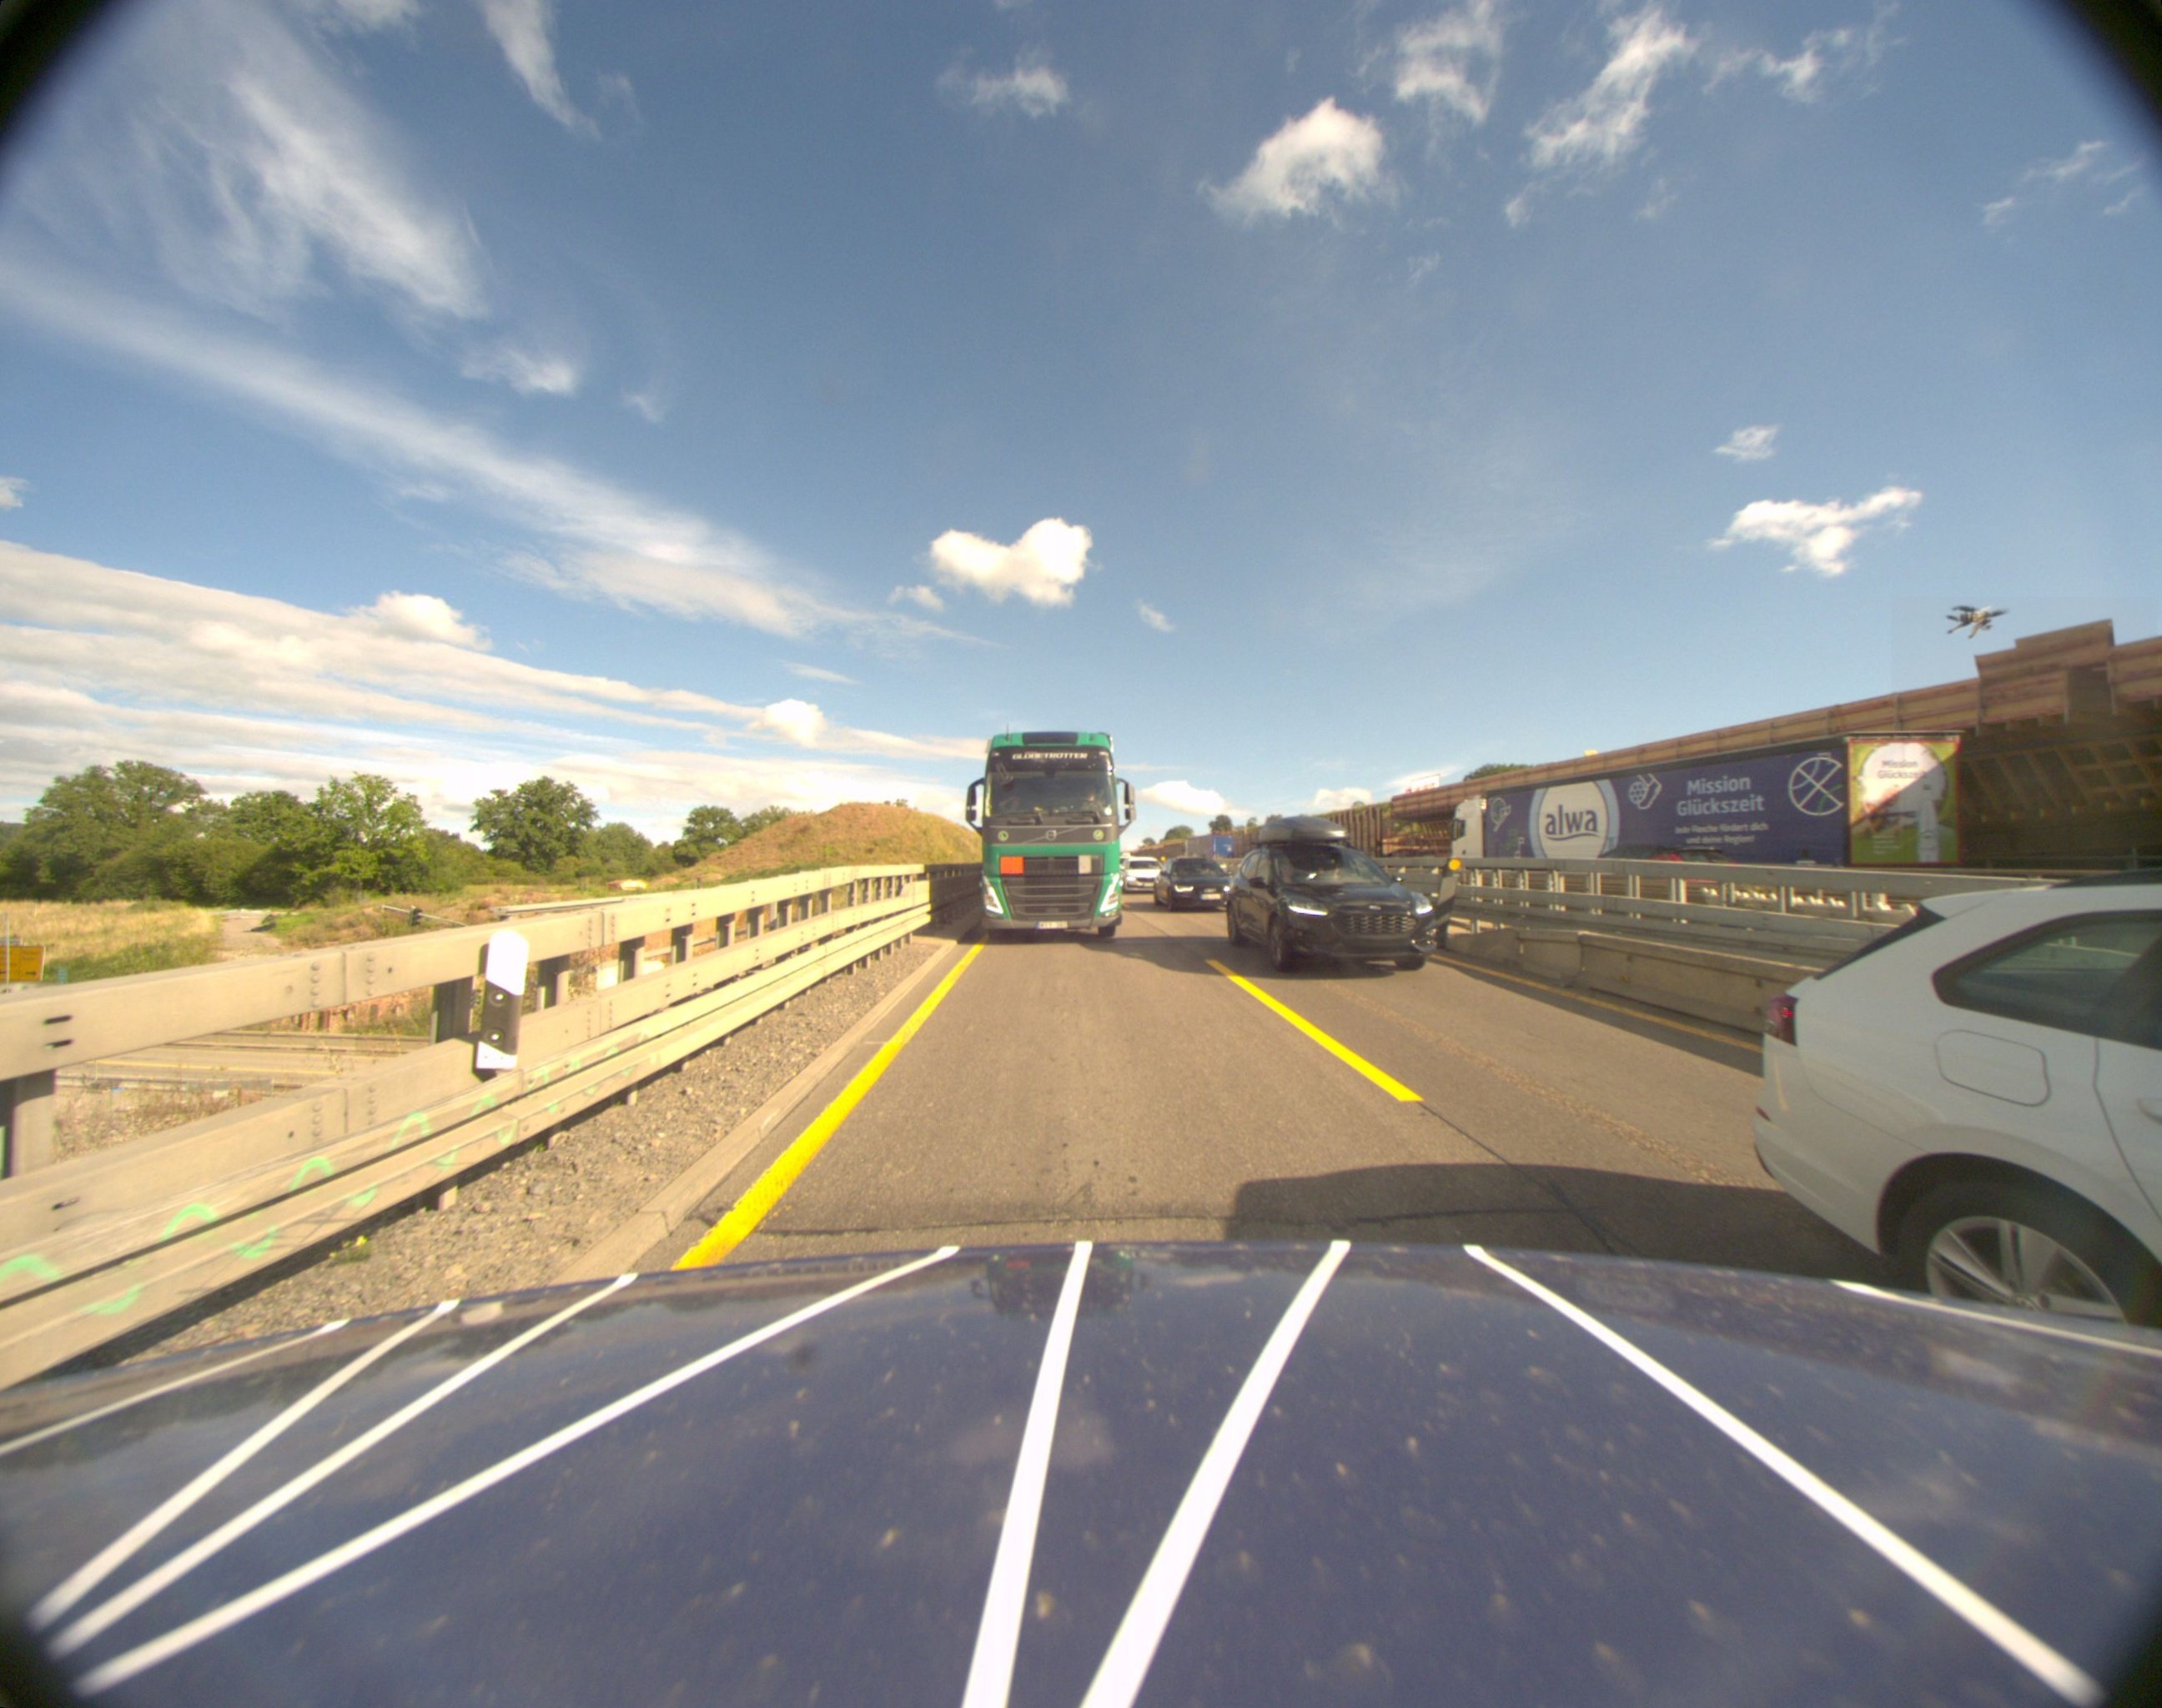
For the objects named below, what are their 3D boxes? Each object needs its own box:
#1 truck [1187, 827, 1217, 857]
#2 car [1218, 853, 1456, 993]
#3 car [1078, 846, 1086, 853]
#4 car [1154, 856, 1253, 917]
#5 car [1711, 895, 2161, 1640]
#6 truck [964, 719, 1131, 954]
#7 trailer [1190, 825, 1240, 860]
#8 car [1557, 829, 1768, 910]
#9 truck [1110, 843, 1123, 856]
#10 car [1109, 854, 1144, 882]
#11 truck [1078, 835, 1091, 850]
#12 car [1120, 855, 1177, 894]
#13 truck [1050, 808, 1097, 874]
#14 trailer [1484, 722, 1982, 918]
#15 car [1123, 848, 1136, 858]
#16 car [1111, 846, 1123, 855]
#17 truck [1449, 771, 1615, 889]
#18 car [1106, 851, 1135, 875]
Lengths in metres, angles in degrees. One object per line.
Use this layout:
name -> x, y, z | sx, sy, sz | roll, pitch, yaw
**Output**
truck -> 15.082, -1.447, 95.125 | 2.850, 3.608, 4.808 | -1, 1, -1
car -> 3.261, 0.769, 10.688 | 1.804, 1.533, 4.384 | -1, 0, -1
car -> 0.199, -1.112, 176.991 | 1.659, 1.510, 3.999 | -1, 1, -2
car -> 3.336, 0.834, 21.550 | 1.949, 1.422, 4.503 | 0, 1, -2
car -> 3.160, 0.922, 0.448 | 1.774, 1.482, 4.515 | 0, 1, -1
truck -> -0.701, -0.359, 17.715 | 2.664, 3.825, 10.314 | -1, 1, -2
trailer -> 15.361, -1.304, 88.243 | 2.870, 3.646, 13.524 | -1, 1, -2
car -> 14.238, 0.308, 18.983 | 1.928, 1.757, 4.326 | -1, 1, -1
truck -> 10.968, -1.423, 233.595 | 3.179, 3.843, 8.231 | -1, 1, -2
car -> 2.651, 0.799, 45.030 | 1.659, 1.510, 3.999 | -1, 1, -2
truck -> 0.850, -2.917, 192.913 | 2.664, 3.825, 10.314 | -1, 1, -2
car -> 2.796, 0.823, 32.213 | 1.949, 1.422, 4.408 | -3, 0, 0
truck -> -0.593, -0.829, 50.159 | 2.664, 3.825, 10.314 | -1, 1, -2
trailer -> 17.605, -0.813, 23.111 | 2.695, 4.132, 13.805 | -1, 1, -3
car -> 12.343, -0.217, 192.419 | 2.573, 2.329, 6.403 | -1, 1, -2
car -> 10.447, -1.082, 219.080 | 2.887, 2.329, 6.403 | -1, 1, -2
truck -> 17.304, -0.888, 29.695 | 2.719, 4.114, 5.968 | -1, 1, -3
car -> 2.753, 0.613, 53.242 | 1.659, 1.510, 3.999 | -1, 1, -2
